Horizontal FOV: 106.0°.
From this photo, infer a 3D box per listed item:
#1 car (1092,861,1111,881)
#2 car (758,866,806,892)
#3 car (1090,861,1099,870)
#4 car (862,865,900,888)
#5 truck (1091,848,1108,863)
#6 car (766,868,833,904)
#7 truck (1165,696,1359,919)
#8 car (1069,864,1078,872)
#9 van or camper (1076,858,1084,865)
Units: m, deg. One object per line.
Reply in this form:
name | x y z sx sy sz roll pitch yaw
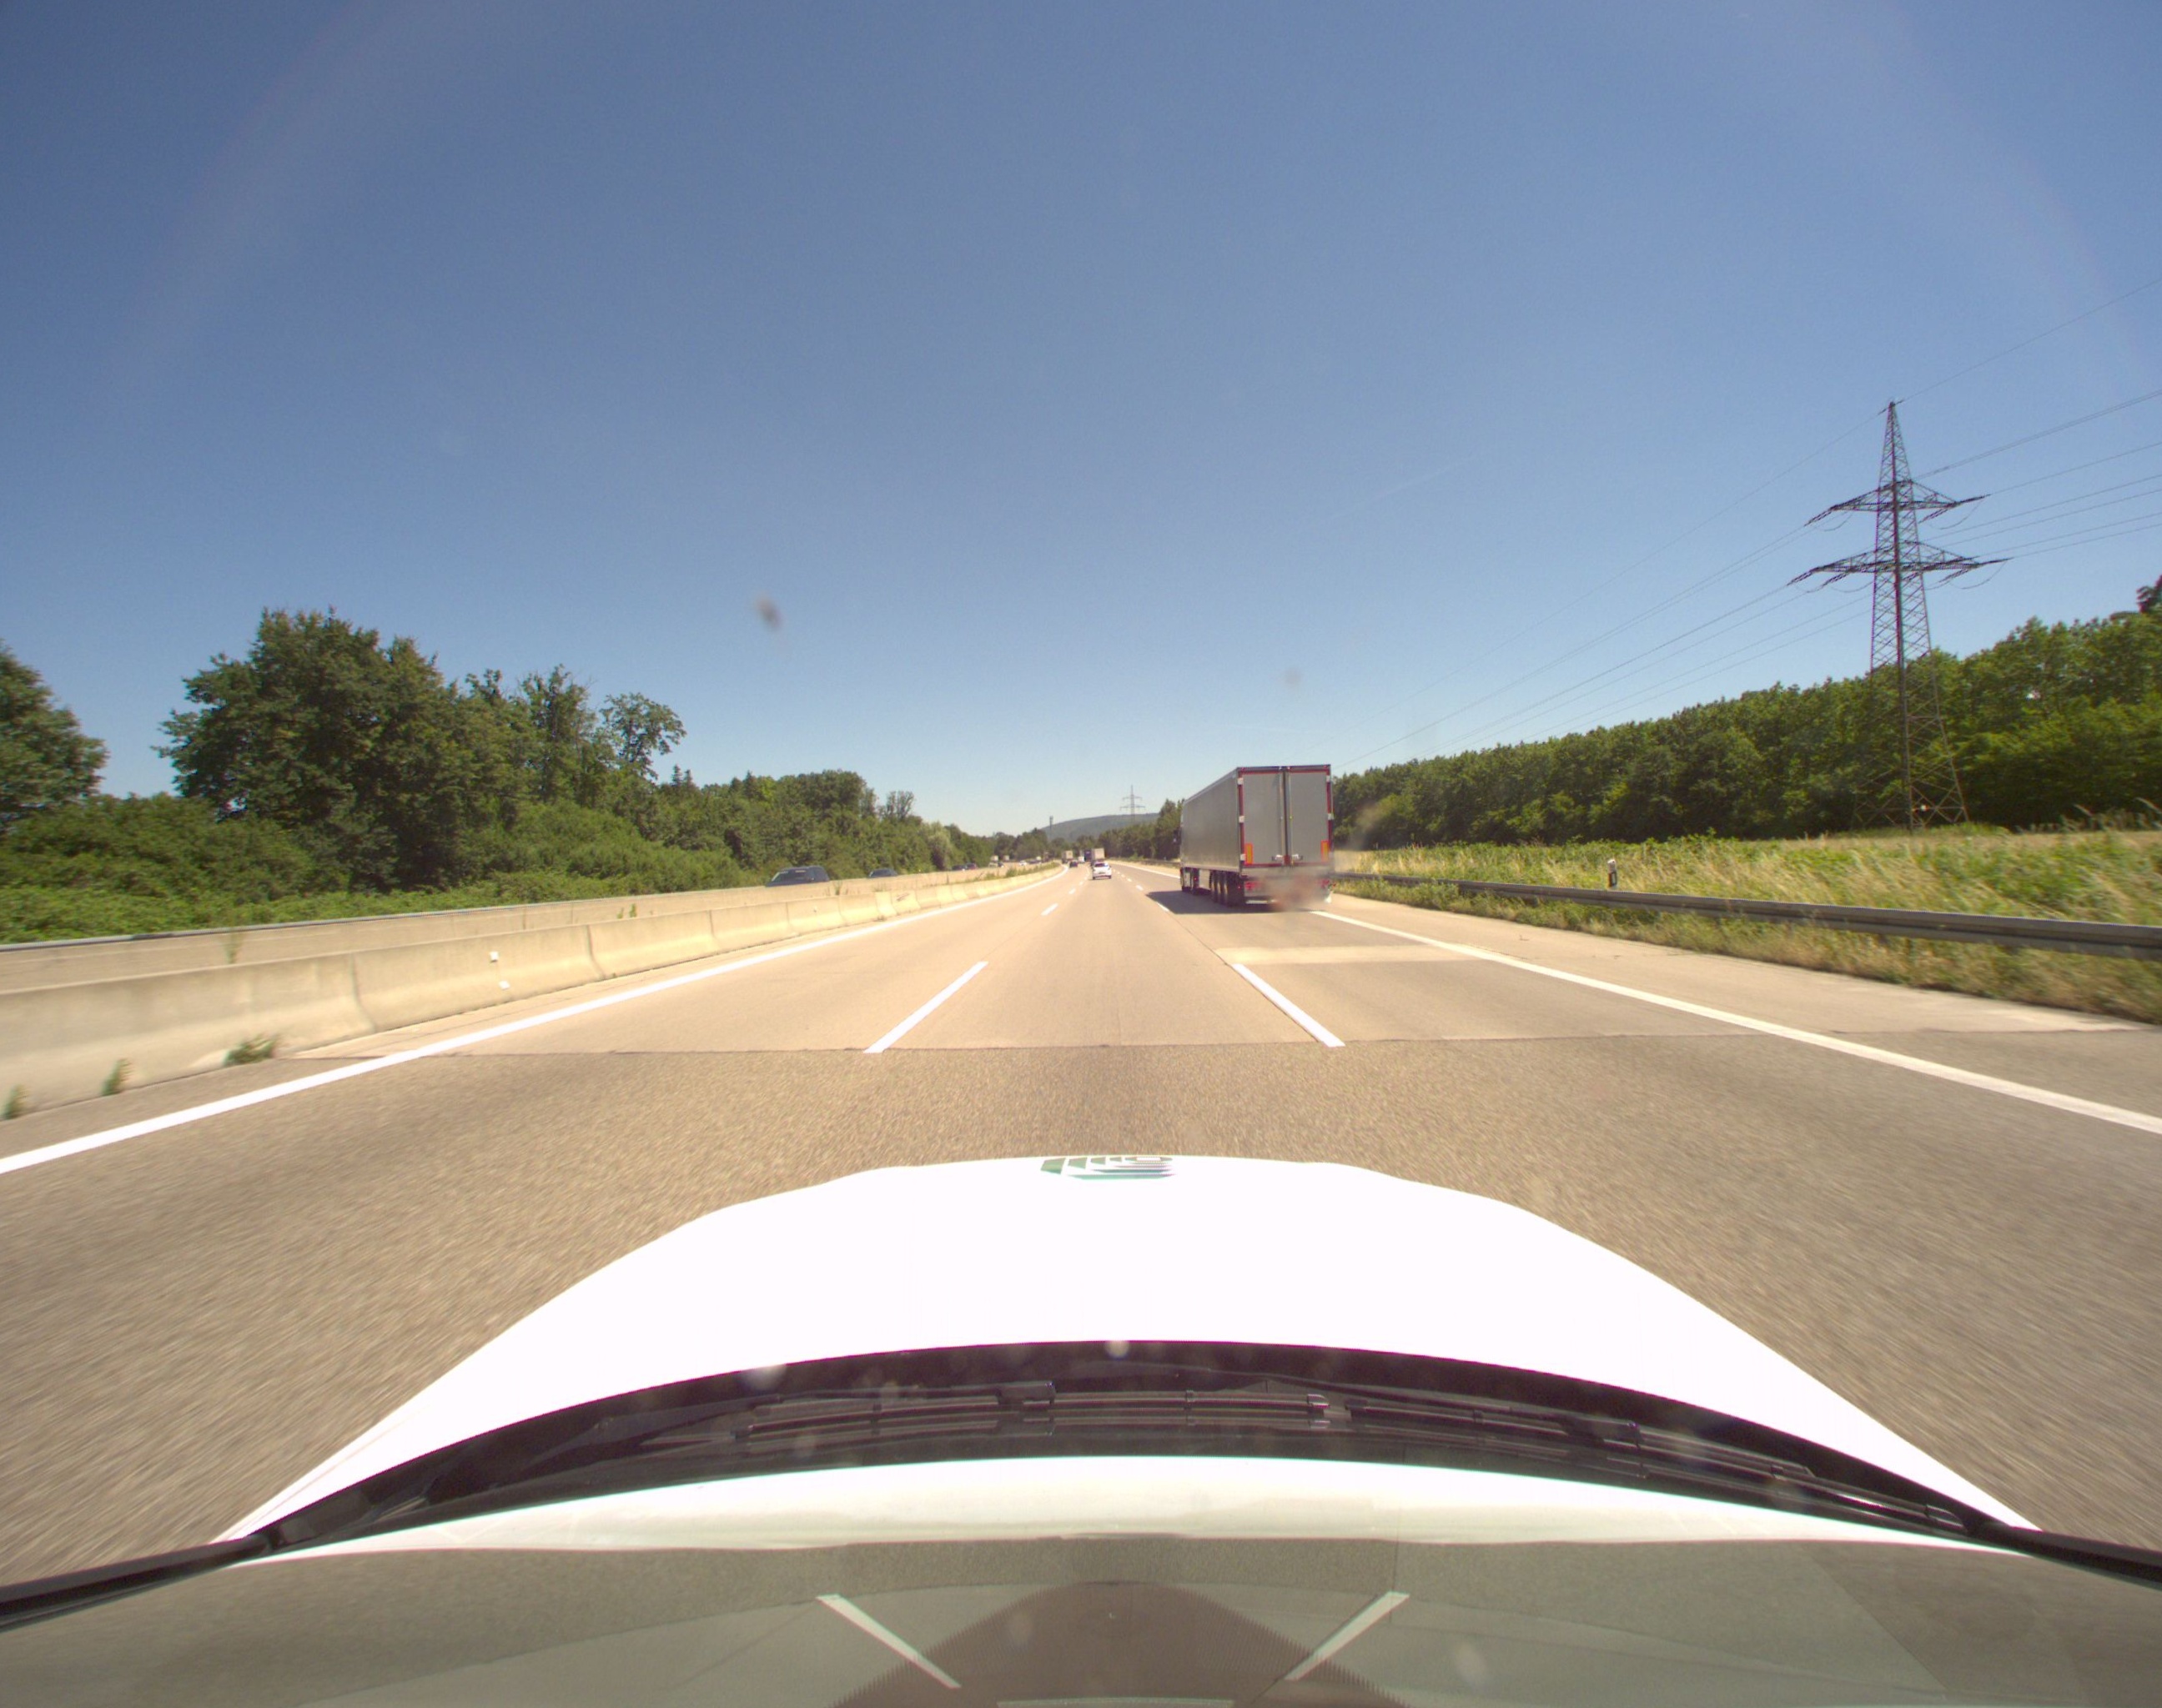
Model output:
car | 1.850 1.509 73.484 1.635 1.662 3.362 0 1 2
car | -20.446 1.688 55.811 1.697 1.658 4.090 -2 -1 0
car | 2.965 2.354 173.940 1.606 1.725 3.571 -5 0 -2
car | -15.196 1.689 62.011 1.697 1.658 4.406 -2 -1 0
truck | 5.092 0.385 225.814 3.809 3.889 14.148 -5 0 -1
car | -12.331 1.379 35.917 1.554 1.418 3.525 -2 -1 2
truck | 5.705 -1.318 30.621 3.564 5.787 18.253 -1 1 1
car | -1.708 3.005 179.294 2.016 1.700 3.998 0 0 -1
van or camper | -0.293 2.070 238.997 1.864 1.837 3.993 -5 0 -5
